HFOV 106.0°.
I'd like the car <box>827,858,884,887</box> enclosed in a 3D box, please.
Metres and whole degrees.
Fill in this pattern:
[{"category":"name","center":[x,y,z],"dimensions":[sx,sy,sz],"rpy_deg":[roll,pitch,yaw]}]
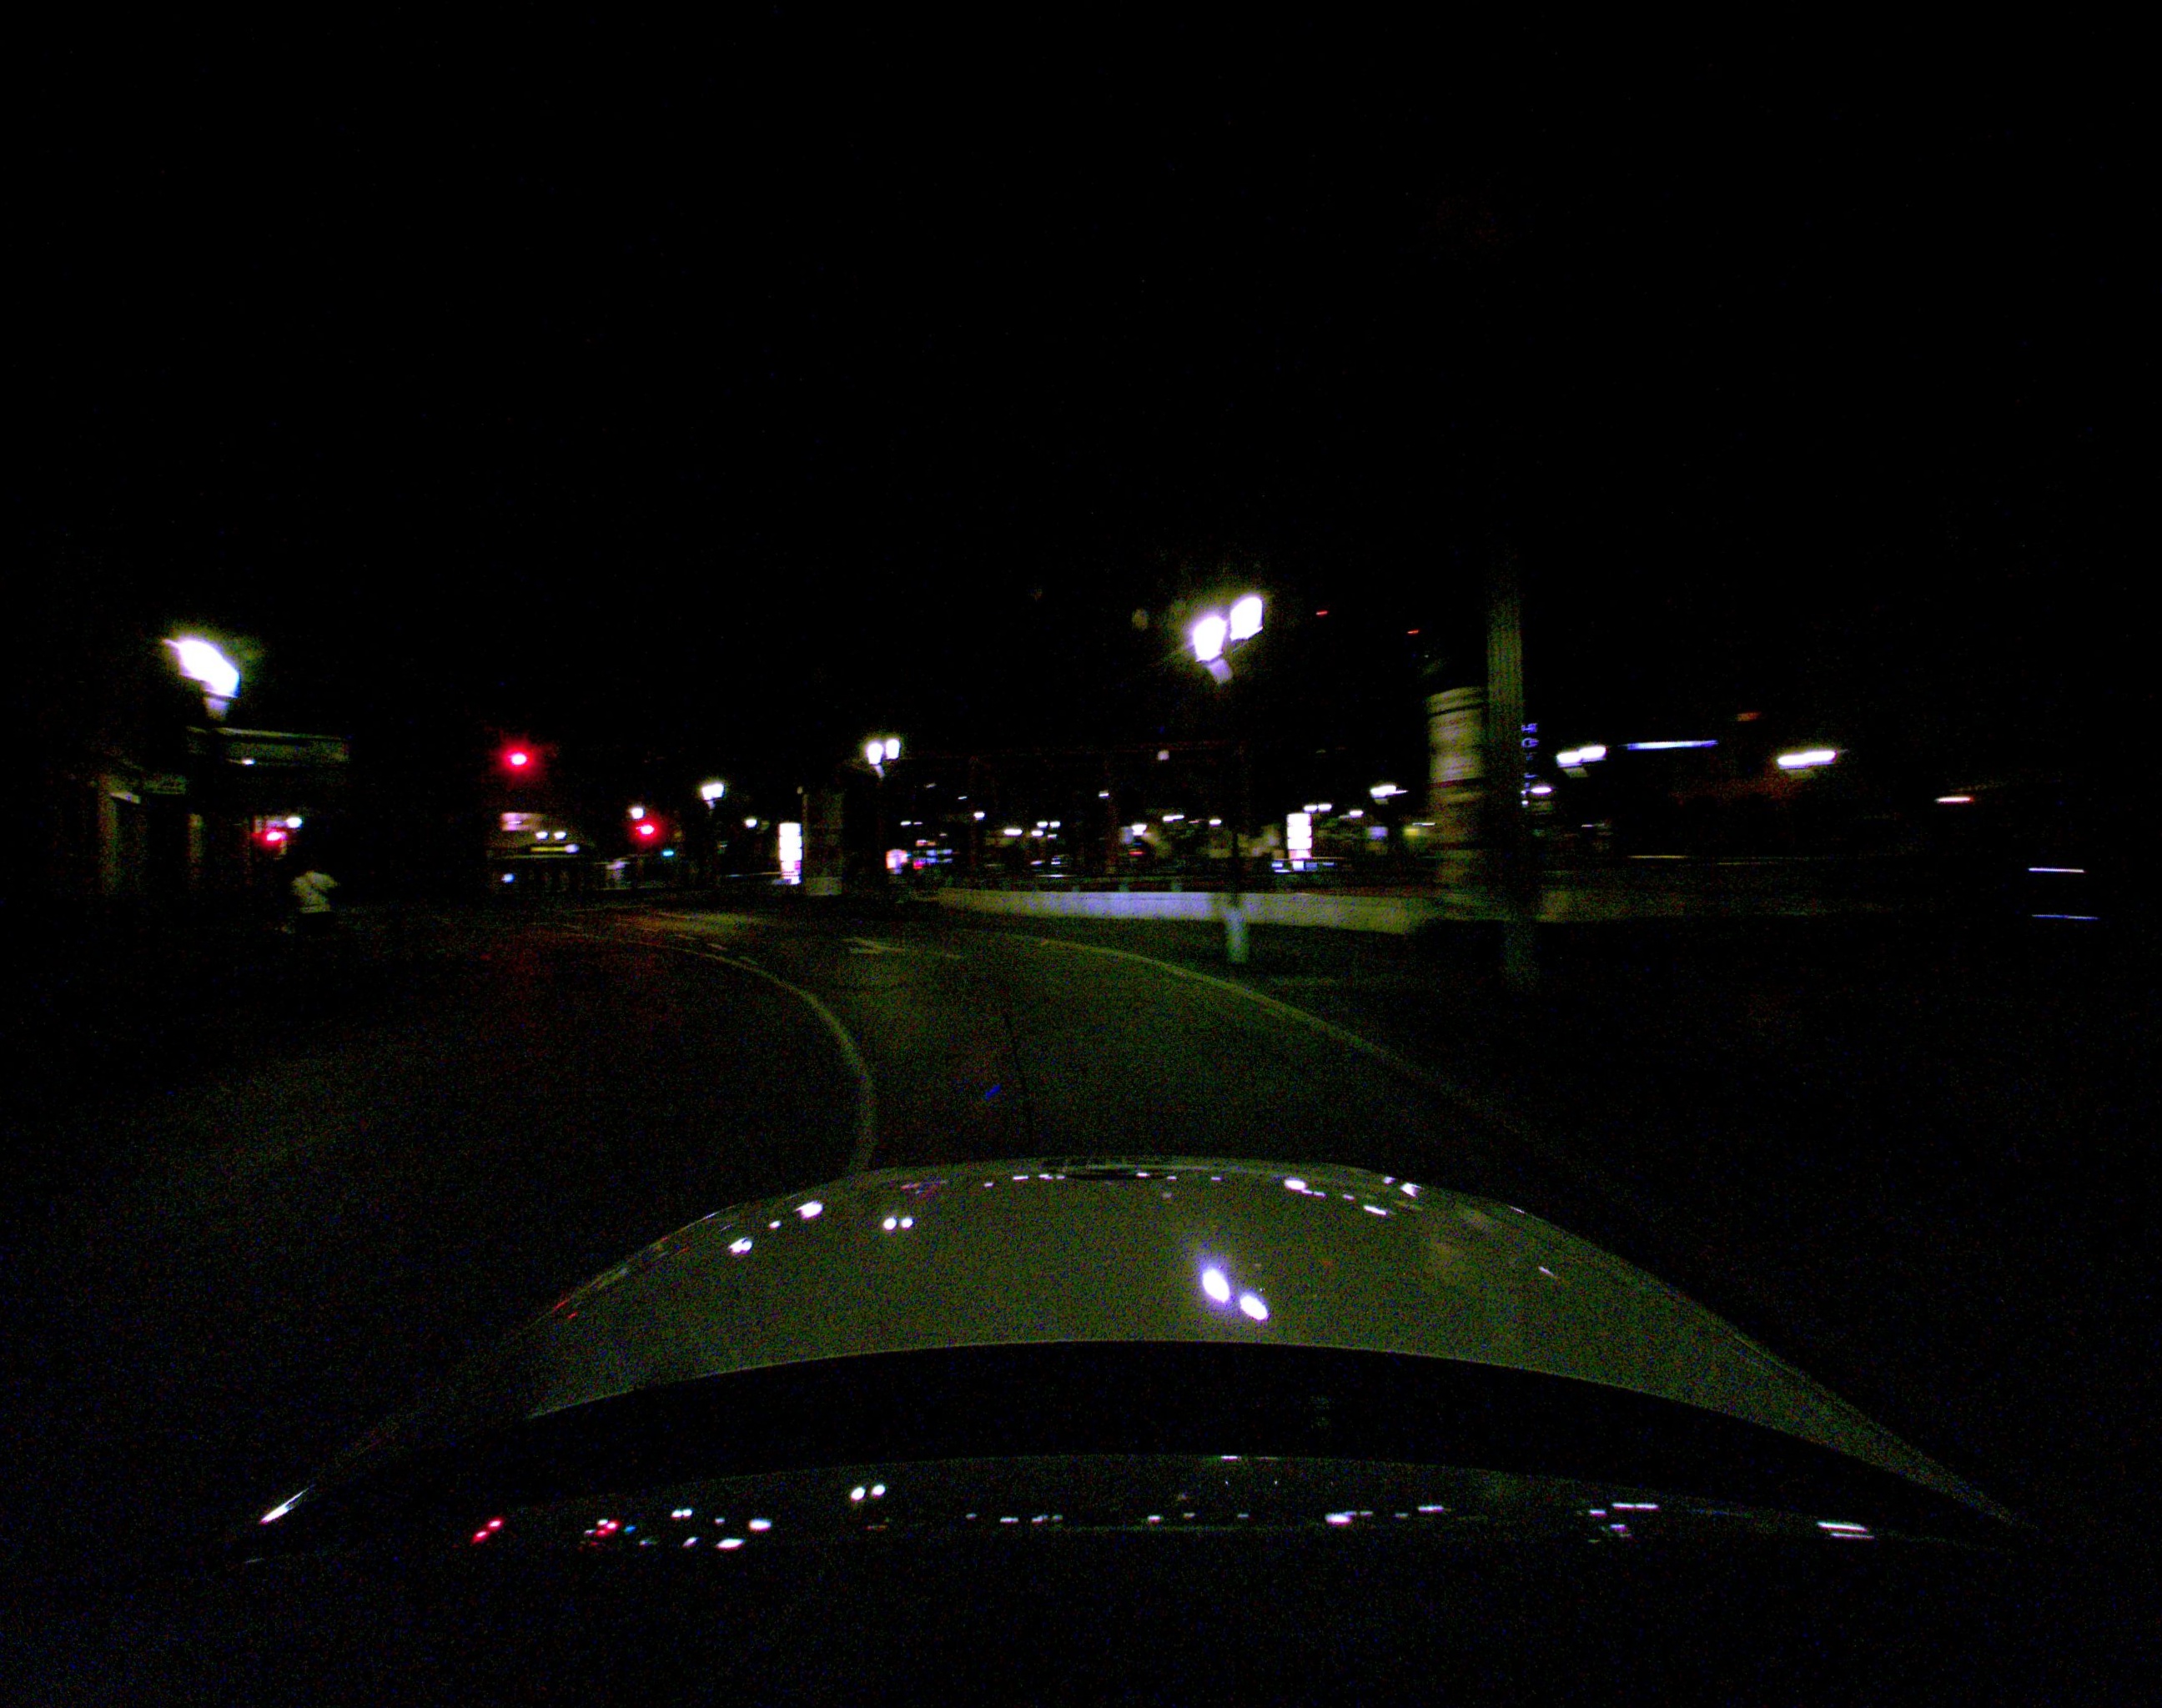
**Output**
[{"category":"car","center":[-13.247,1.060,48.090],"dimensions":[1.986,1.574,4.329],"rpy_deg":[-2,0,1]}]

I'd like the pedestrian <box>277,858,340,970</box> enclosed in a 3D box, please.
[{"category":"pedestrian","center":[-13.086,0.994,13.818],"dimensions":[0.730,1.822,0.684],"rpy_deg":[1,-2,-41]}]

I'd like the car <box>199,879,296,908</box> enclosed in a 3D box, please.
[{"category":"car","center":[-54.923,2.561,53.694],"dimensions":[4.299,1.574,2.001],"rpy_deg":[-4,-1,1]}]

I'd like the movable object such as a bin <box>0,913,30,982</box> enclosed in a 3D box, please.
[{"category":"movable object such as a bin","center":[-16.189,1.405,12.169],"dimensions":[0.501,0.990,0.552],"rpy_deg":[-2,0,-43]}]

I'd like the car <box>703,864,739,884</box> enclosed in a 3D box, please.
[{"category":"car","center":[-30.916,1.734,69.869],"dimensions":[2.010,1.574,3.612],"rpy_deg":[-2,0,-38]}]
